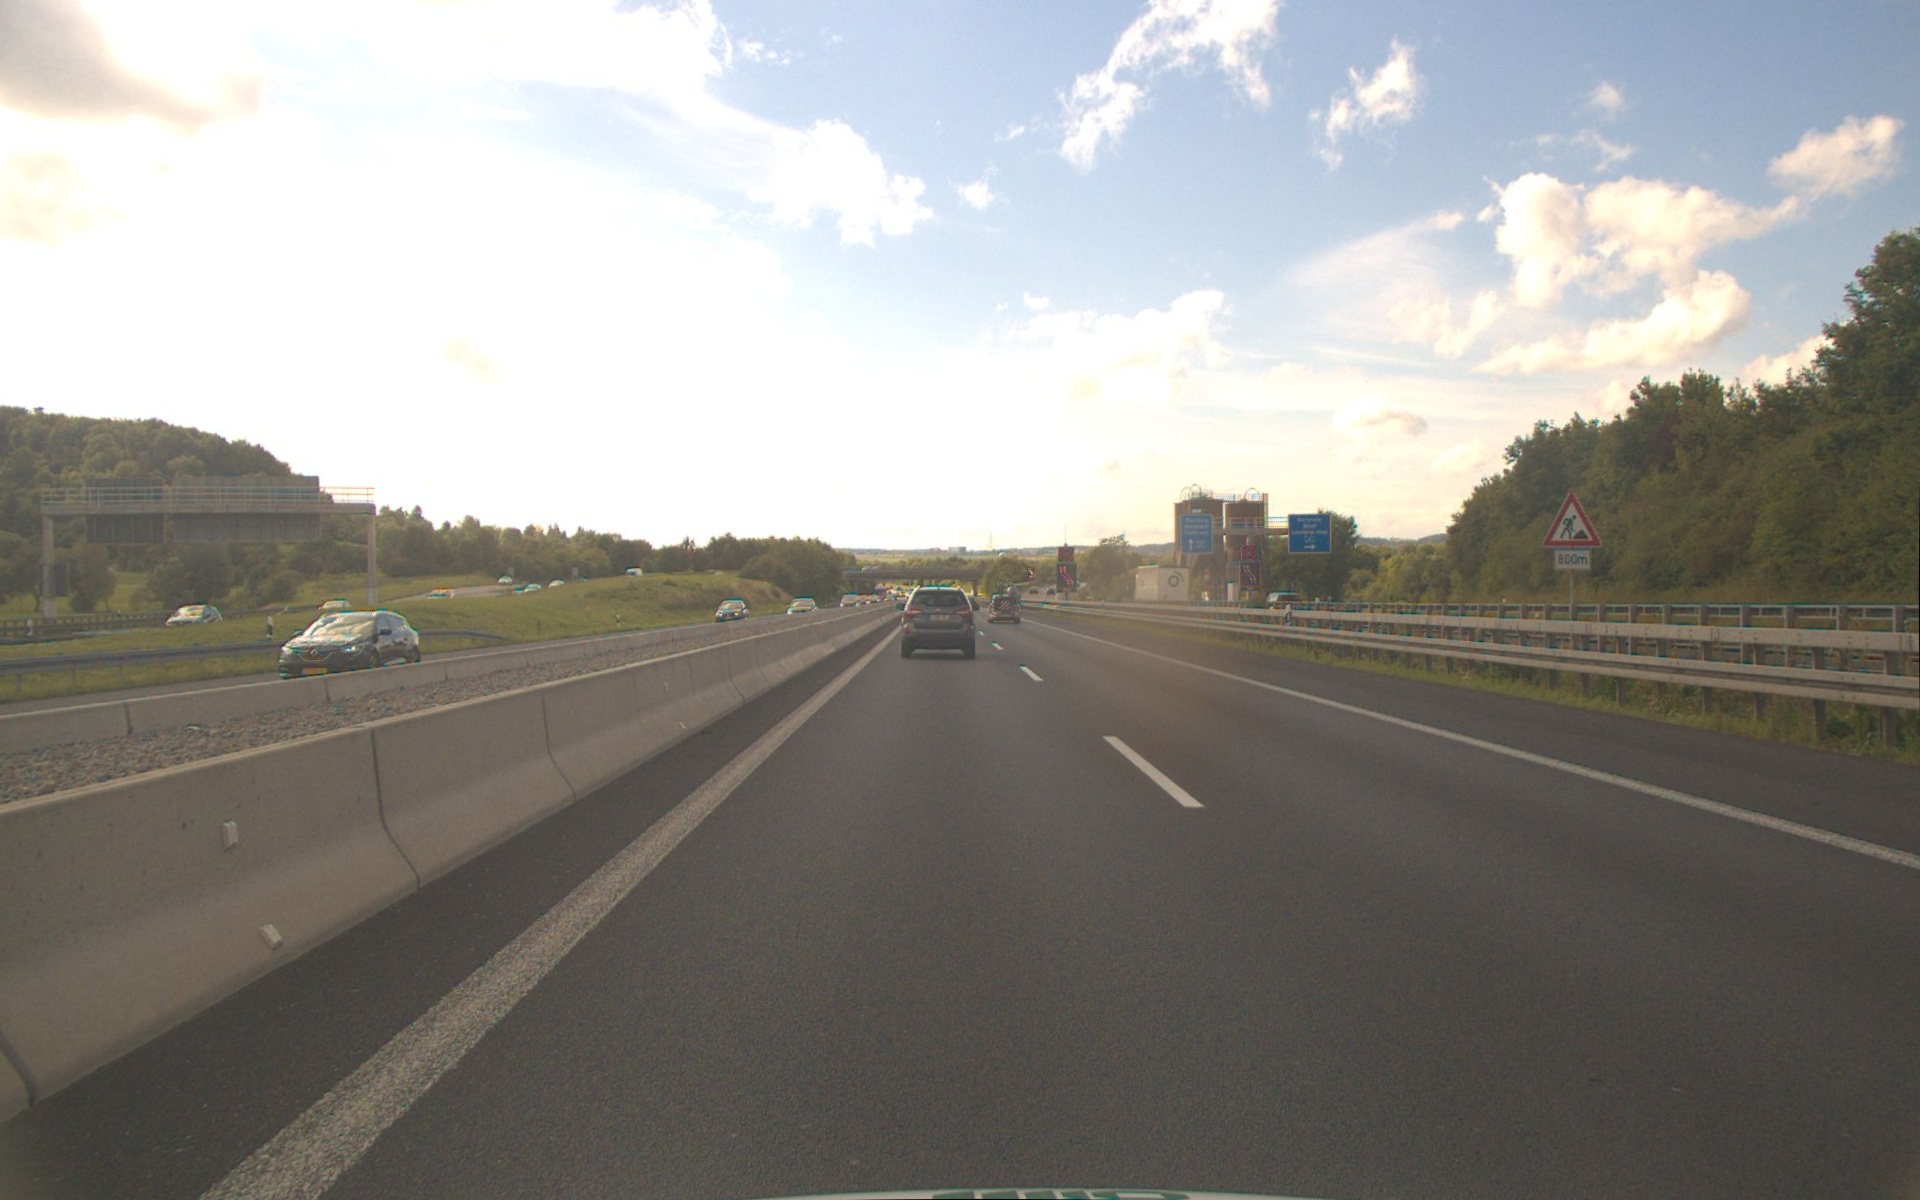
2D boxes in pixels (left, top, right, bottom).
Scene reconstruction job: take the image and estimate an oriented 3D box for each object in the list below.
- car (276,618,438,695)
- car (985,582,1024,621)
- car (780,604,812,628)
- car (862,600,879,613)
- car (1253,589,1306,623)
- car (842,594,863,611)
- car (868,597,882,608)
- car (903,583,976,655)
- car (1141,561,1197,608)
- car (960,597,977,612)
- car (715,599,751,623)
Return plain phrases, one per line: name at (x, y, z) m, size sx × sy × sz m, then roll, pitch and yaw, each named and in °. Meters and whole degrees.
car at (-12.633, 1.136, 34.976) m, size 1.718 × 1.426 × 4.690 m, roll -2°, pitch 0°, yaw -1°
car at (2.505, 0.071, 93.533) m, size 1.953 × 2.117 × 3.999 m, roll -2°, pitch 0°, yaw -1°
car at (-10.257, 0.978, 103.611) m, size 1.608 × 1.422 × 3.740 m, roll -2°, pitch 0°, yaw -1°
car at (-10.237, 0.715, 188.968) m, size 1.751 × 1.422 × 4.798 m, roll -2°, pitch 0°, yaw -1°
car at (17.217, 0.325, 89.305) m, size 1.953 × 1.747 × 3.999 m, roll -2°, pitch 0°, yaw -1°
car at (-9.964, 0.238, 153.487) m, size 1.751 × 1.422 × 4.724 m, roll -2°, pitch 0°, yaw -1°
car at (-11.758, 0.343, 228.715) m, size 1.751 × 1.422 × 4.622 m, roll -2°, pitch 0°, yaw -1°
car at (-0.472, 0.457, 41.360) m, size 1.714 × 1.659 × 3.609 m, roll -2°, pitch 0°, yaw 0°
car at (17.461, -1.263, 138.480) m, size 3.504 × 3.741 × 7.547 m, roll -2°, pitch 0°, yaw -1°
car at (0.994, 0.536, 200.310) m, size 1.935 × 1.810 × 4.119 m, roll -2°, pitch 0°, yaw -1°
car at (-14.122, 0.693, 103.010) m, size 1.692 × 1.422 × 4.157 m, roll -2°, pitch 0°, yaw -1°
